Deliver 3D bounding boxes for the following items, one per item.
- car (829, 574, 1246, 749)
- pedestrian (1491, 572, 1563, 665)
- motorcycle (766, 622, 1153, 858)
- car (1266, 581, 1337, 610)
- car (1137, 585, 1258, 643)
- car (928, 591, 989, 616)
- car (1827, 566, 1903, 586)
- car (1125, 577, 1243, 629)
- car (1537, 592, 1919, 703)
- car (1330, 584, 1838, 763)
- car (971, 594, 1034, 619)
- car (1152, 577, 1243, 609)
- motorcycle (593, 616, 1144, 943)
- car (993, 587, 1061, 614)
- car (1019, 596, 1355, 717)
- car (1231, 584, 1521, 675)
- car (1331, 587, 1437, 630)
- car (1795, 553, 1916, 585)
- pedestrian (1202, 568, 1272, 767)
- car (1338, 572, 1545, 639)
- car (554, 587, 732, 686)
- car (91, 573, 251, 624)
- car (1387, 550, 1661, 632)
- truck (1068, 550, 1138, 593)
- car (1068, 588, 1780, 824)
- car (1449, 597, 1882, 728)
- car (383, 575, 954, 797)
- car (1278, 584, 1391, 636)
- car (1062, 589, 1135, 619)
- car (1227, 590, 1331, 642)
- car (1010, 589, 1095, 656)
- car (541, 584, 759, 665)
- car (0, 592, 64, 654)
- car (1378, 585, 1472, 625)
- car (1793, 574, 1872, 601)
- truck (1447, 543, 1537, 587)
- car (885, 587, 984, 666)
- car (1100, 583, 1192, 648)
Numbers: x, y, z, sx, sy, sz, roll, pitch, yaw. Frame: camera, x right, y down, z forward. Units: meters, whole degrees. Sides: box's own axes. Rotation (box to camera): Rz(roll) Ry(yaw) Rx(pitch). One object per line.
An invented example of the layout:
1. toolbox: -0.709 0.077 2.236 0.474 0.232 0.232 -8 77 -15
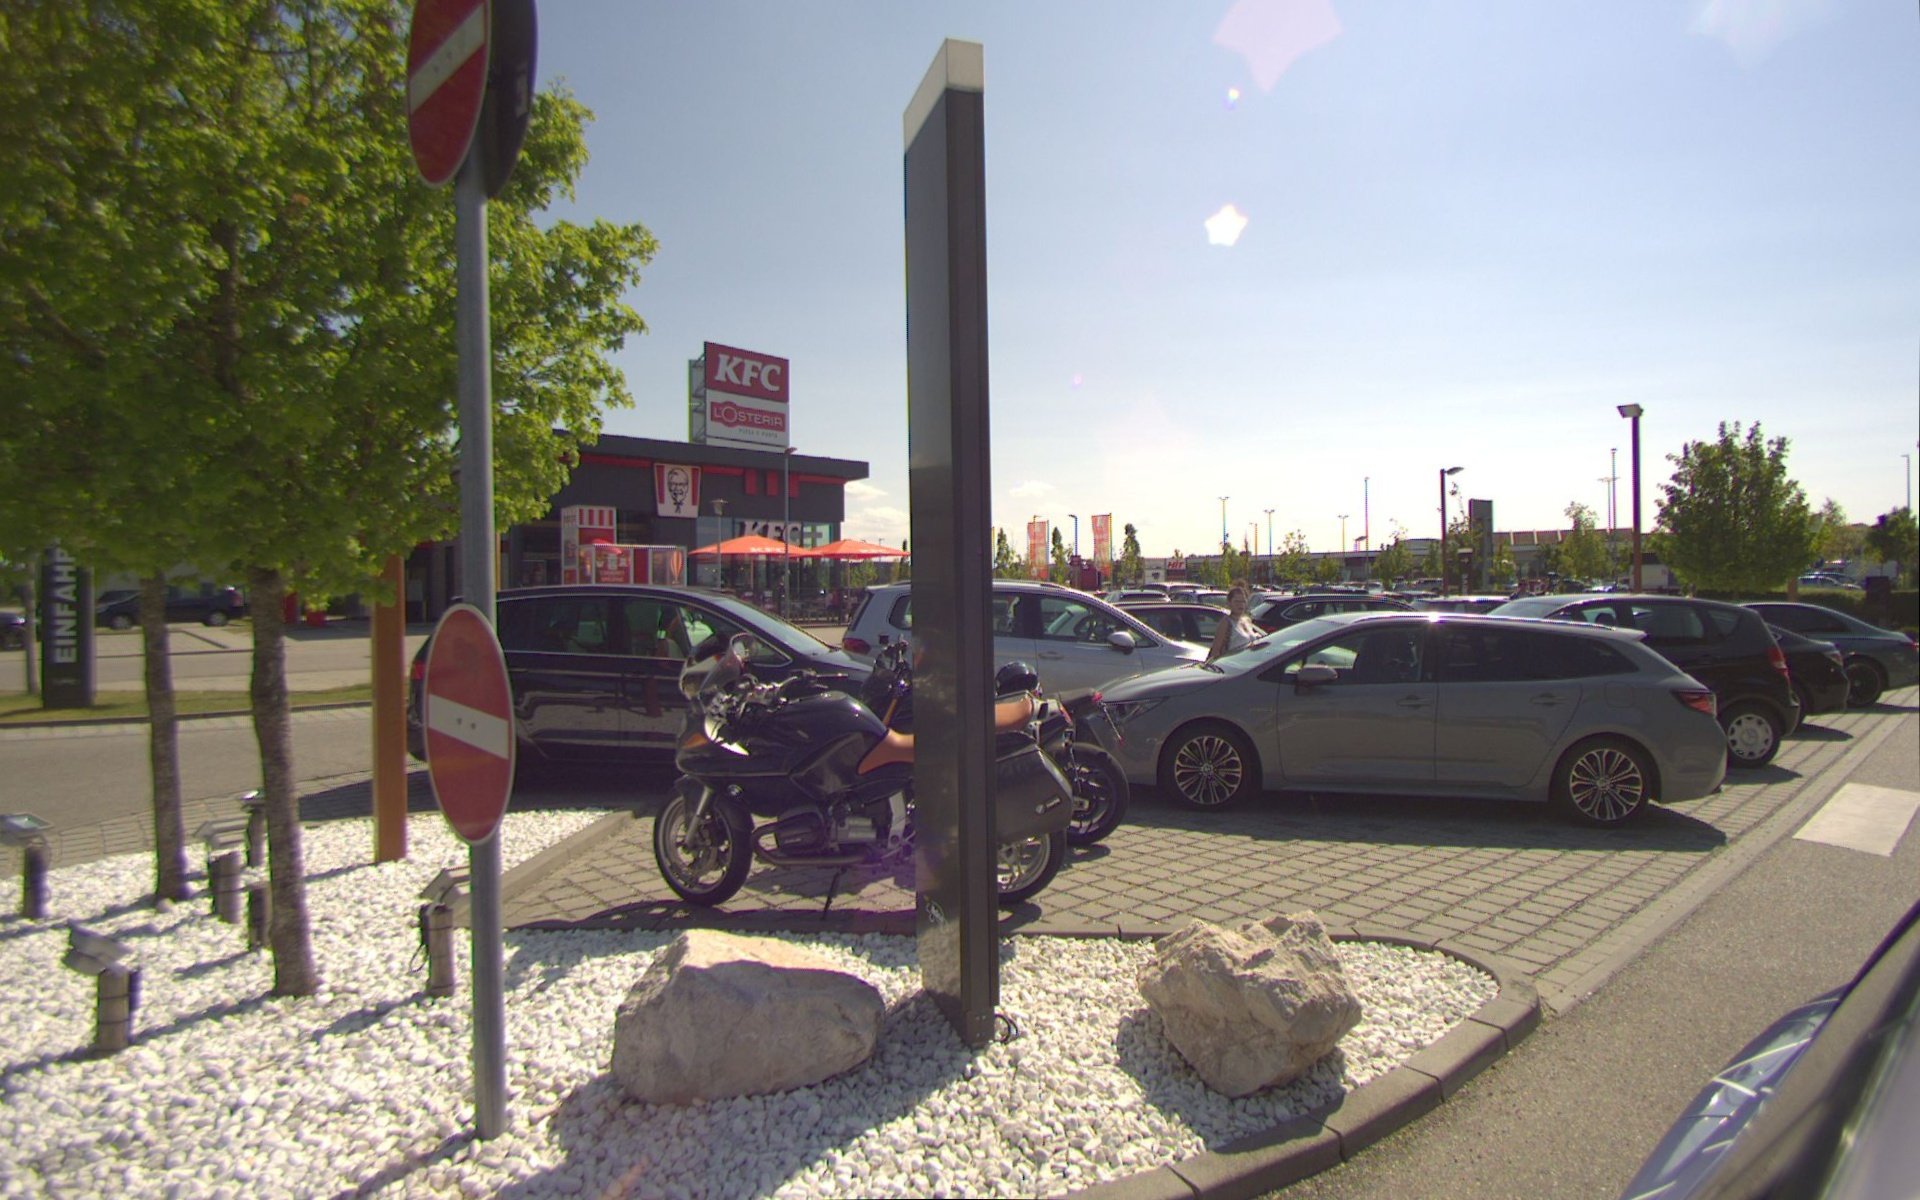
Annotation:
1. car: 0.760 0.573 10.604 3.993 1.660 1.747 0 0 3
2. pedestrian: 12.099 0.372 21.603 0.884 1.940 1.030 0 0 -30
3. motorcycle: -0.019 0.774 5.920 2.099 1.247 0.821 1 0 -4
4. car: 25.154 -0.337 74.743 1.959 2.039 5.030 -1 1 -26
5. car: 6.648 0.341 28.855 1.742 1.530 4.360 -1 1 -11
6. car: -0.107 0.204 66.401 3.684 1.530 1.687 -1 1 -35
7. car: 64.398 -1.684 72.060 1.637 1.359 3.900 -1 1 -42
8. car: 8.150 0.076 36.637 4.292 1.772 2.069 -1 1 -41
9. car: 11.410 0.663 15.089 4.460 1.530 1.885 0 1 4
10. car: 6.025 0.658 10.206 3.929 1.613 1.810 0 0 5
11. car: 2.634 0.390 62.601 3.684 1.472 1.687 -1 1 -35
12. car: 11.012 -0.343 46.886 4.076 1.415 1.889 -1 1 -35
13. motorcycle: -0.374 0.735 4.639 2.209 1.267 1.071 1 -1 0
14. car: 3.873 0.003 58.448 3.684 1.472 1.687 -1 1 -35
15. car: 2.805 0.675 13.241 4.007 1.426 1.792 0 1 3
16. car: 7.258 0.490 18.041 4.337 1.530 1.982 0 1 4
17. car: 14.848 0.251 35.684 1.762 1.440 4.090 0 1 -4
18. car: 65.951 -2.249 74.640 2.262 2.272 6.558 -1 1 -42
19. pedestrian: 2.506 0.587 9.199 0.554 1.734 0.609 0 0 11
20. car: 10.757 0.115 22.840 3.835 1.444 1.704 0 1 6
21. car: -5.191 0.517 17.152 1.808 1.443 4.188 0 1 -2
22. car: -28.072 -0.100 36.108 1.636 1.706 4.315 0 1 44
23. car: 11.150 -0.180 20.290 4.337 1.530 1.982 0 1 4
24. truck: 13.498 -2.645 96.542 3.143 3.915 9.150 0 1 -16
25. car: 3.181 0.689 7.794 4.580 1.465 1.833 1 0 5
26. car: 8.519 0.715 12.547 4.003 1.467 1.827 0 1 5
27. car: -2.133 0.602 8.264 4.113 1.556 1.895 0 0 2
28. car: 12.250 0.284 33.374 1.770 1.576 4.061 0 1 -7
29. car: 7.399 0.186 53.864 3.684 1.472 1.687 -1 1 -35
30. car: 9.488 0.431 30.501 1.680 1.428 4.682 0 1 1
31. car: 2.070 0.458 23.598 1.788 1.420 3.997 0 1 3
32. car: -6.391 0.480 21.130 4.013 1.596 1.755 0 0 4
33. car: -23.799 0.561 23.503 1.680 1.459 4.179 0 1 25
34. car: 17.604 0.150 38.507 1.877 1.440 3.775 0 1 1
35. car: 59.780 -0.846 69.374 3.987 1.749 1.864 0 1 44
36. truck: 42.844 -2.785 81.841 2.372 3.393 7.579 -1 1 -9
37. car: -0.585 0.474 21.452 1.877 1.490 4.474 0 1 -2
38. car: 4.623 0.334 25.685 1.788 1.508 3.997 0 1 3
